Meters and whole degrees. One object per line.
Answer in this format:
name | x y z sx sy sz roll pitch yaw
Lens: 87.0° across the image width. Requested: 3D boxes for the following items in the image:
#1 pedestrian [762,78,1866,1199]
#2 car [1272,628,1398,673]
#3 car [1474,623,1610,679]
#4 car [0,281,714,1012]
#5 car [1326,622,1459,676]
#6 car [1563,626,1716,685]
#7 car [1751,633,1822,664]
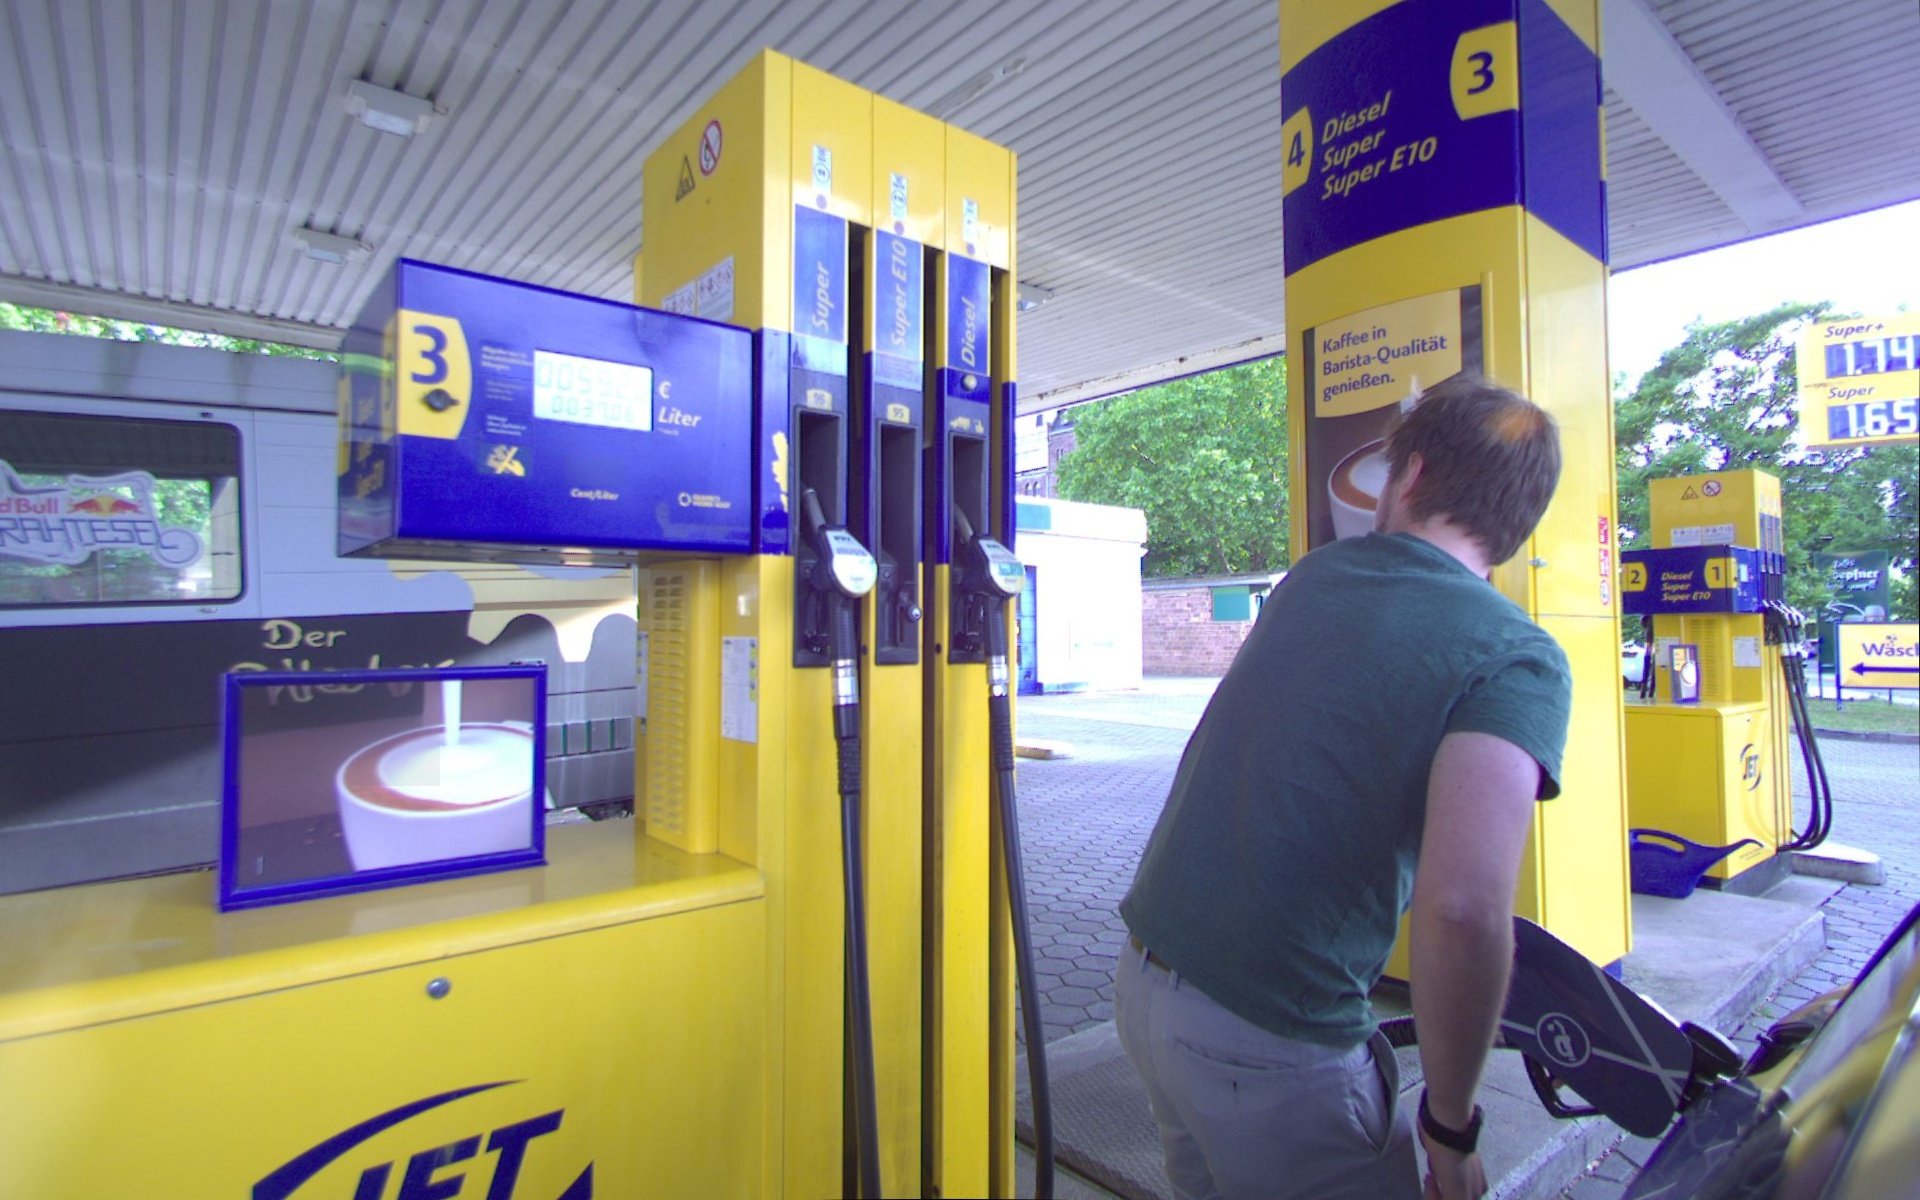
pedestrian | 0.488 0.511 1.430 1.161 1.750 0.993 -2 1 -38
car | 12.638 1.692 34.040 4.112 1.453 1.826 2 -3 -31
car | 17.766 1.572 30.859 4.112 1.606 1.826 2 -3 -31
car | -4.101 0.184 4.862 5.248 2.760 2.201 0 -1 -39
car | 13.777 1.562 32.177 4.112 1.606 1.826 2 -3 -31
car | 18.250 1.481 27.143 4.112 1.478 1.826 2 -3 -31
car | 44.838 2.600 55.012 1.845 1.528 4.783 -3 -2 26
